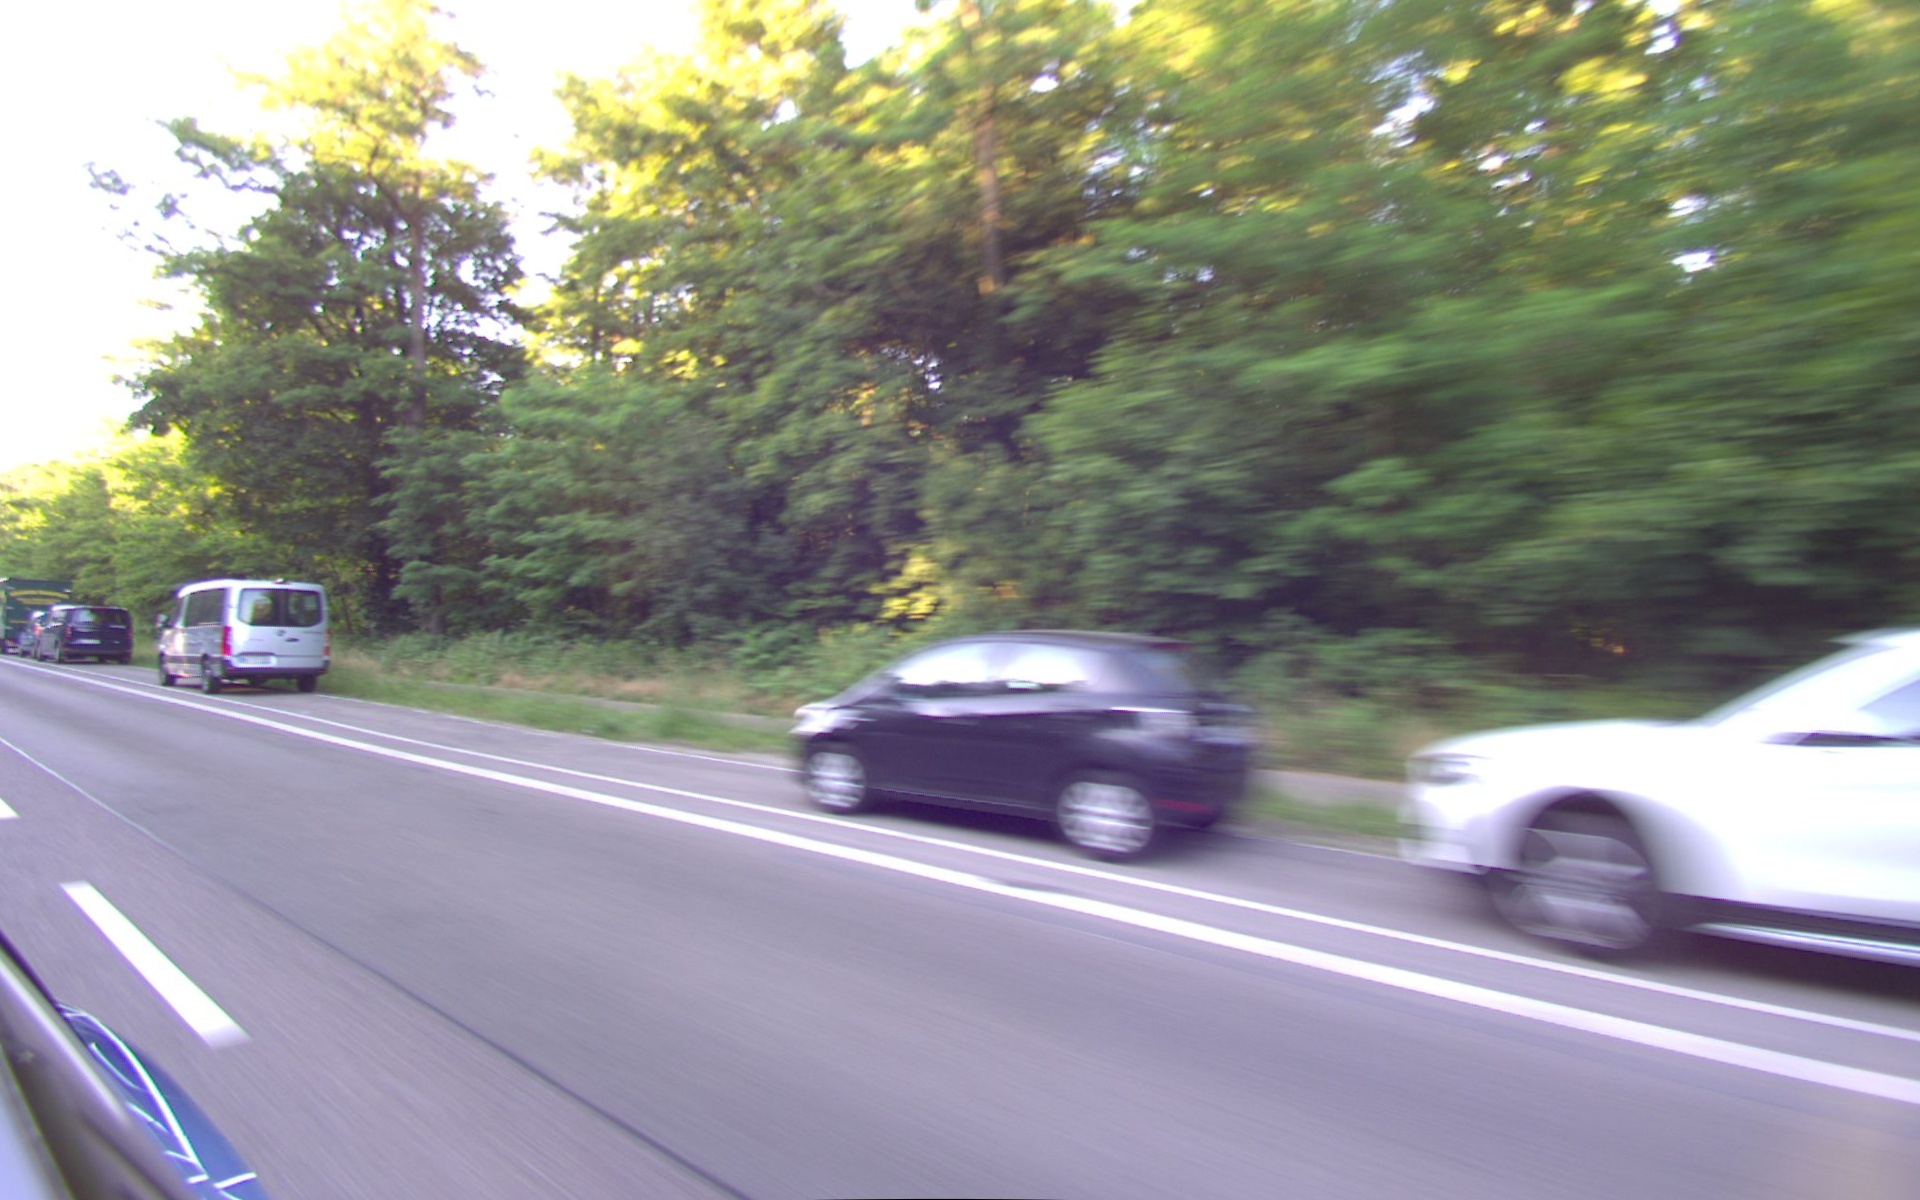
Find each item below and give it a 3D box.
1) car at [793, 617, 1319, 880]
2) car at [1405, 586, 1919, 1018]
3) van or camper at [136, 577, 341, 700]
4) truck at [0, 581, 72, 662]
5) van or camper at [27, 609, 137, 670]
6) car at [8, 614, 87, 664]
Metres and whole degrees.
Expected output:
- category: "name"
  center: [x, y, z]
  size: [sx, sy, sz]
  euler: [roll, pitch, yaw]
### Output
- category: "car"
  center: [0.603, 0.927, 7.762]
  size: [3.732, 1.532, 1.655]
  euler: [-1, -3, 39]
- category: "car"
  center: [4.532, 0.805, 4.308]
  size: [4.568, 1.658, 1.678]
  euler: [-1, -3, 39]
- category: "van or camper"
  center: [-16.275, 0.848, 22.656]
  size: [6.376, 2.409, 2.089]
  euler: [-1, -4, 40]
- category: "truck"
  center: [-40.990, 0.969, 44.172]
  size: [6.266, 3.232, 2.198]
  euler: [-1, -5, 40]
- category: "van or camper"
  center: [-30.867, 1.381, 35.543]
  size: [4.687, 1.971, 2.009]
  euler: [-1, -5, 39]
- category: "car"
  center: [-35.598, 1.524, 39.457]
  size: [3.755, 1.841, 1.587]
  euler: [-1, -5, 39]
